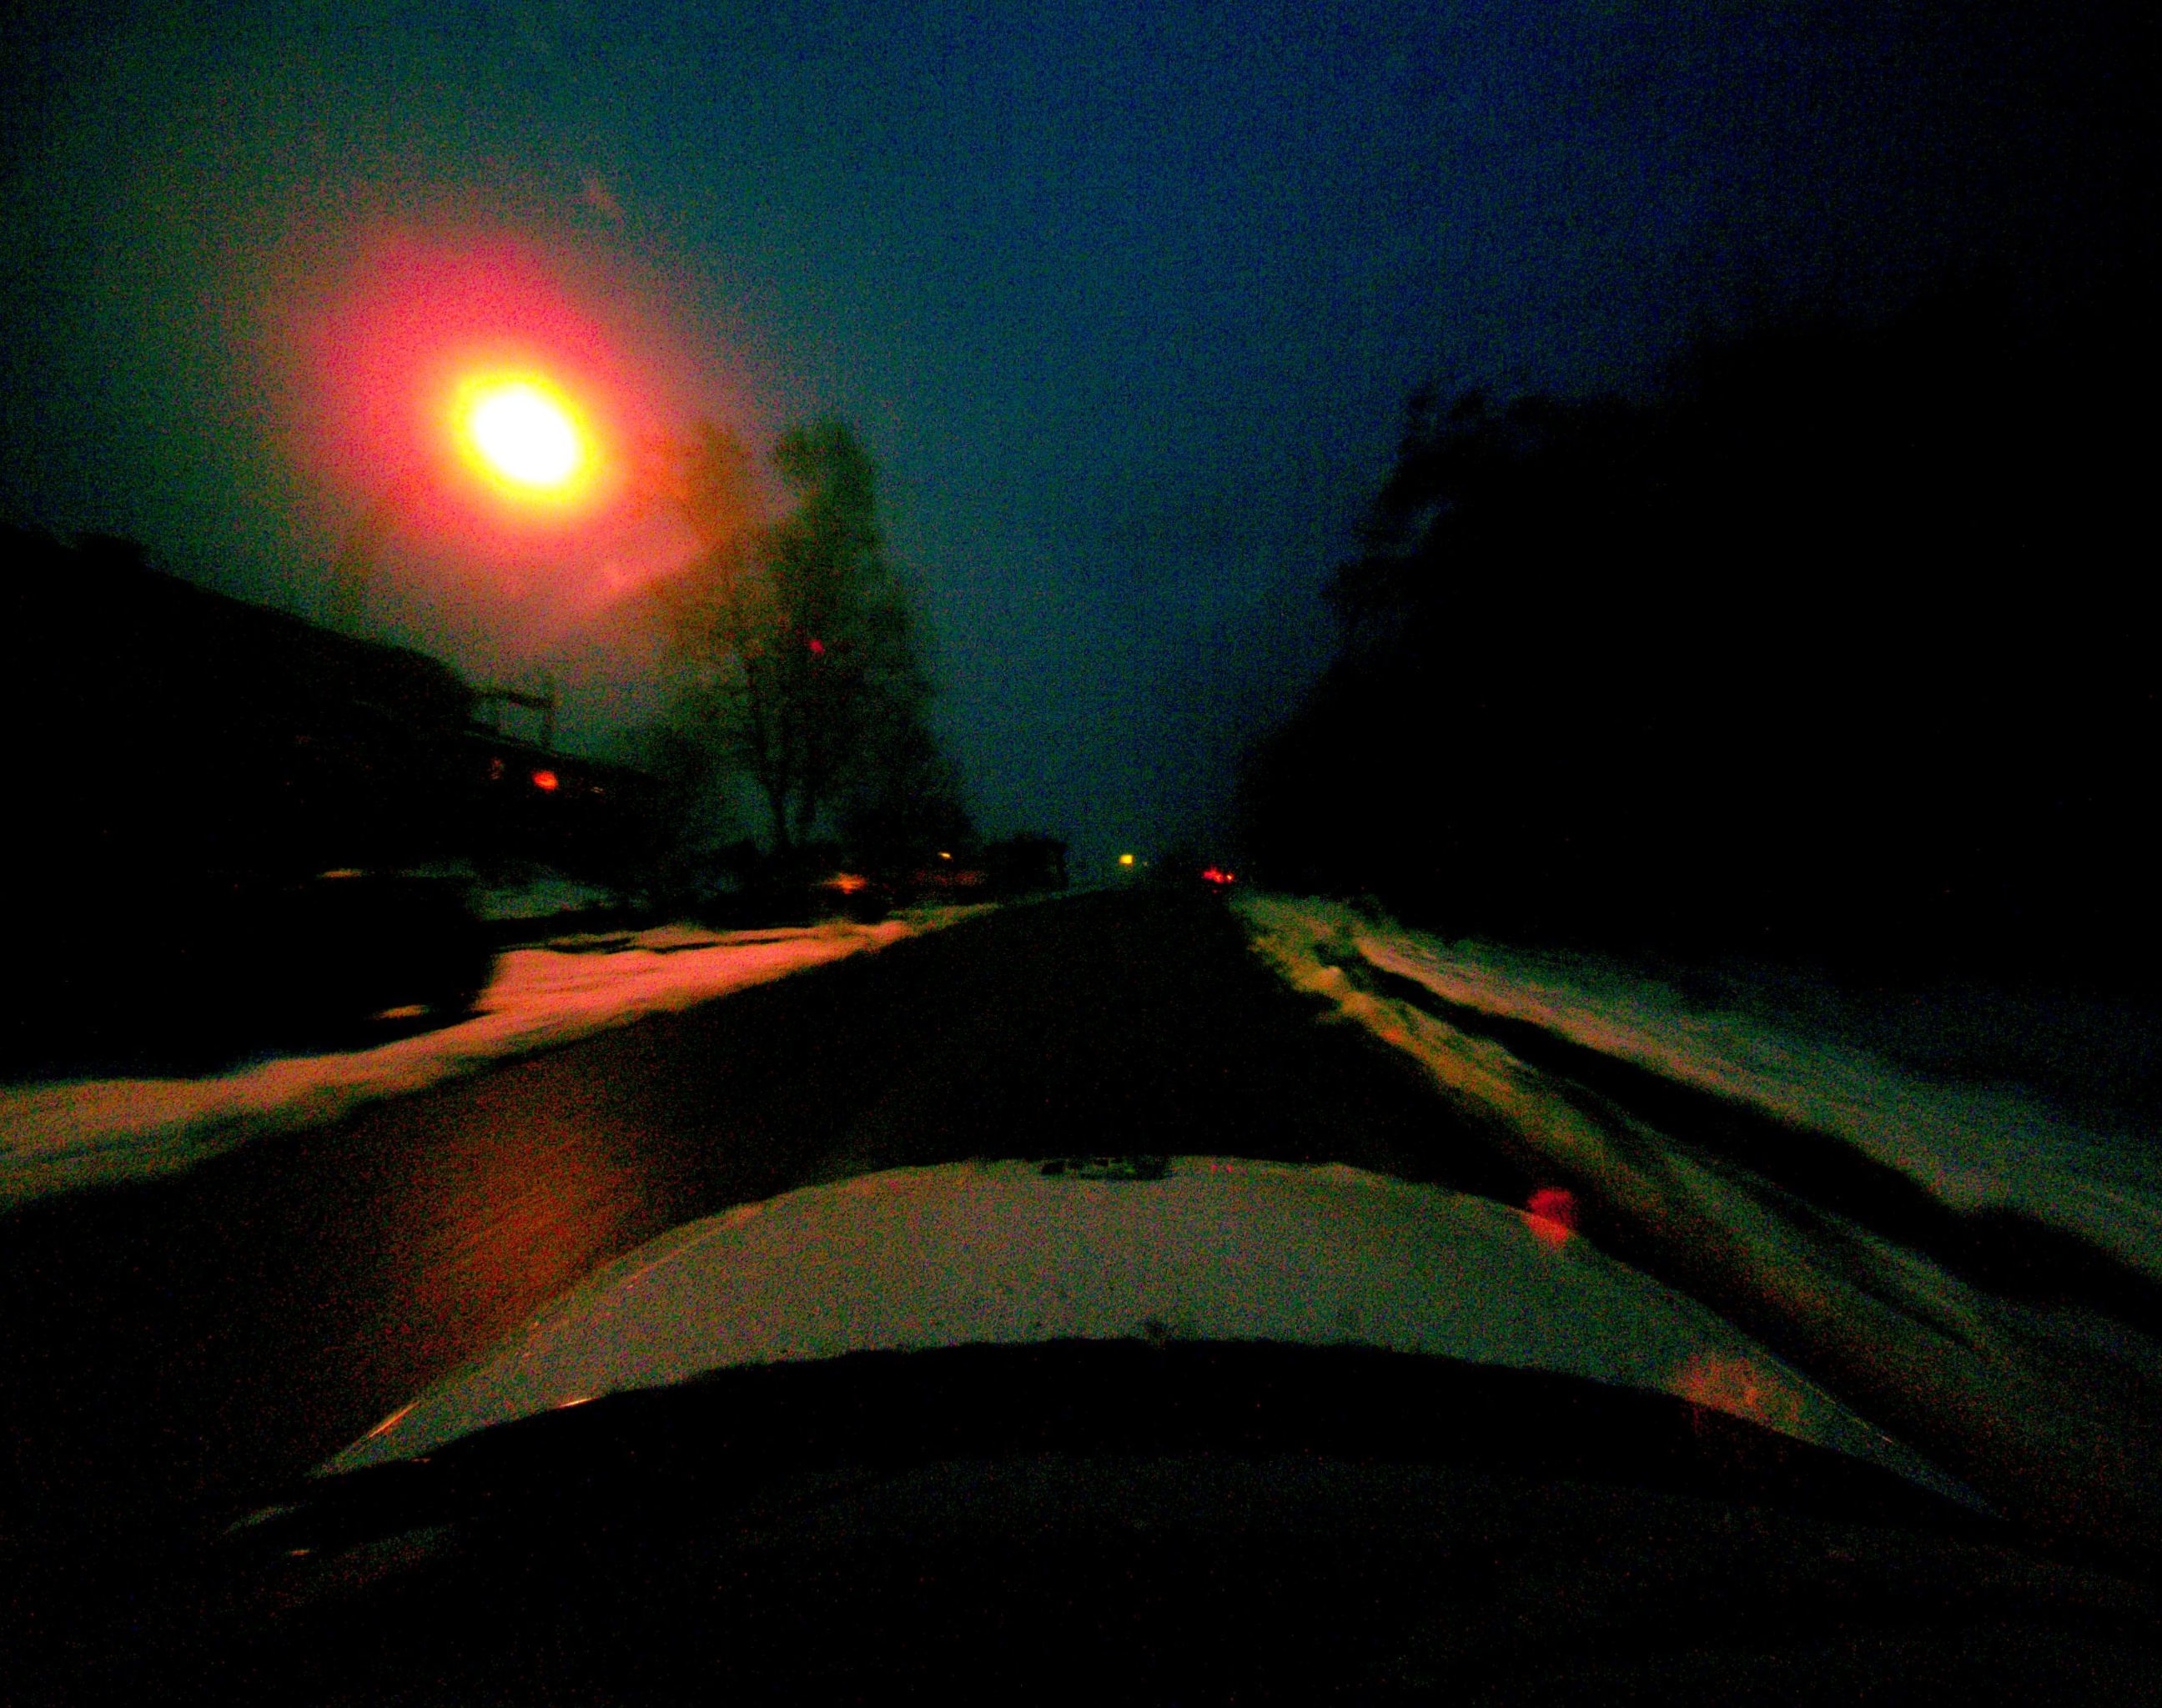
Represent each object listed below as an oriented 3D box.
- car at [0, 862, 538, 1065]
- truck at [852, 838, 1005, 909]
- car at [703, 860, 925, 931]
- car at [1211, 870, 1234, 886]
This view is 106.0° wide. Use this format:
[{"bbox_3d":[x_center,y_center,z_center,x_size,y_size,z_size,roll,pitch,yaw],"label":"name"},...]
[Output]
[{"bbox_3d":[-7.652,0.908,7.539,3.846,1.471,1.936,-3,0,-3],"label":"car"},{"bbox_3d":[-5.639,0.711,30.656,5.244,2.303,2.000,-3,-1,0],"label":"truck"},{"bbox_3d":[-6.700,1.025,20.873,4.870,1.485,2.123,-3,-1,0],"label":"car"},{"bbox_3d":[12.670,2.181,73.116,1.982,1.420,4.008,0,-2,8],"label":"car"}]
